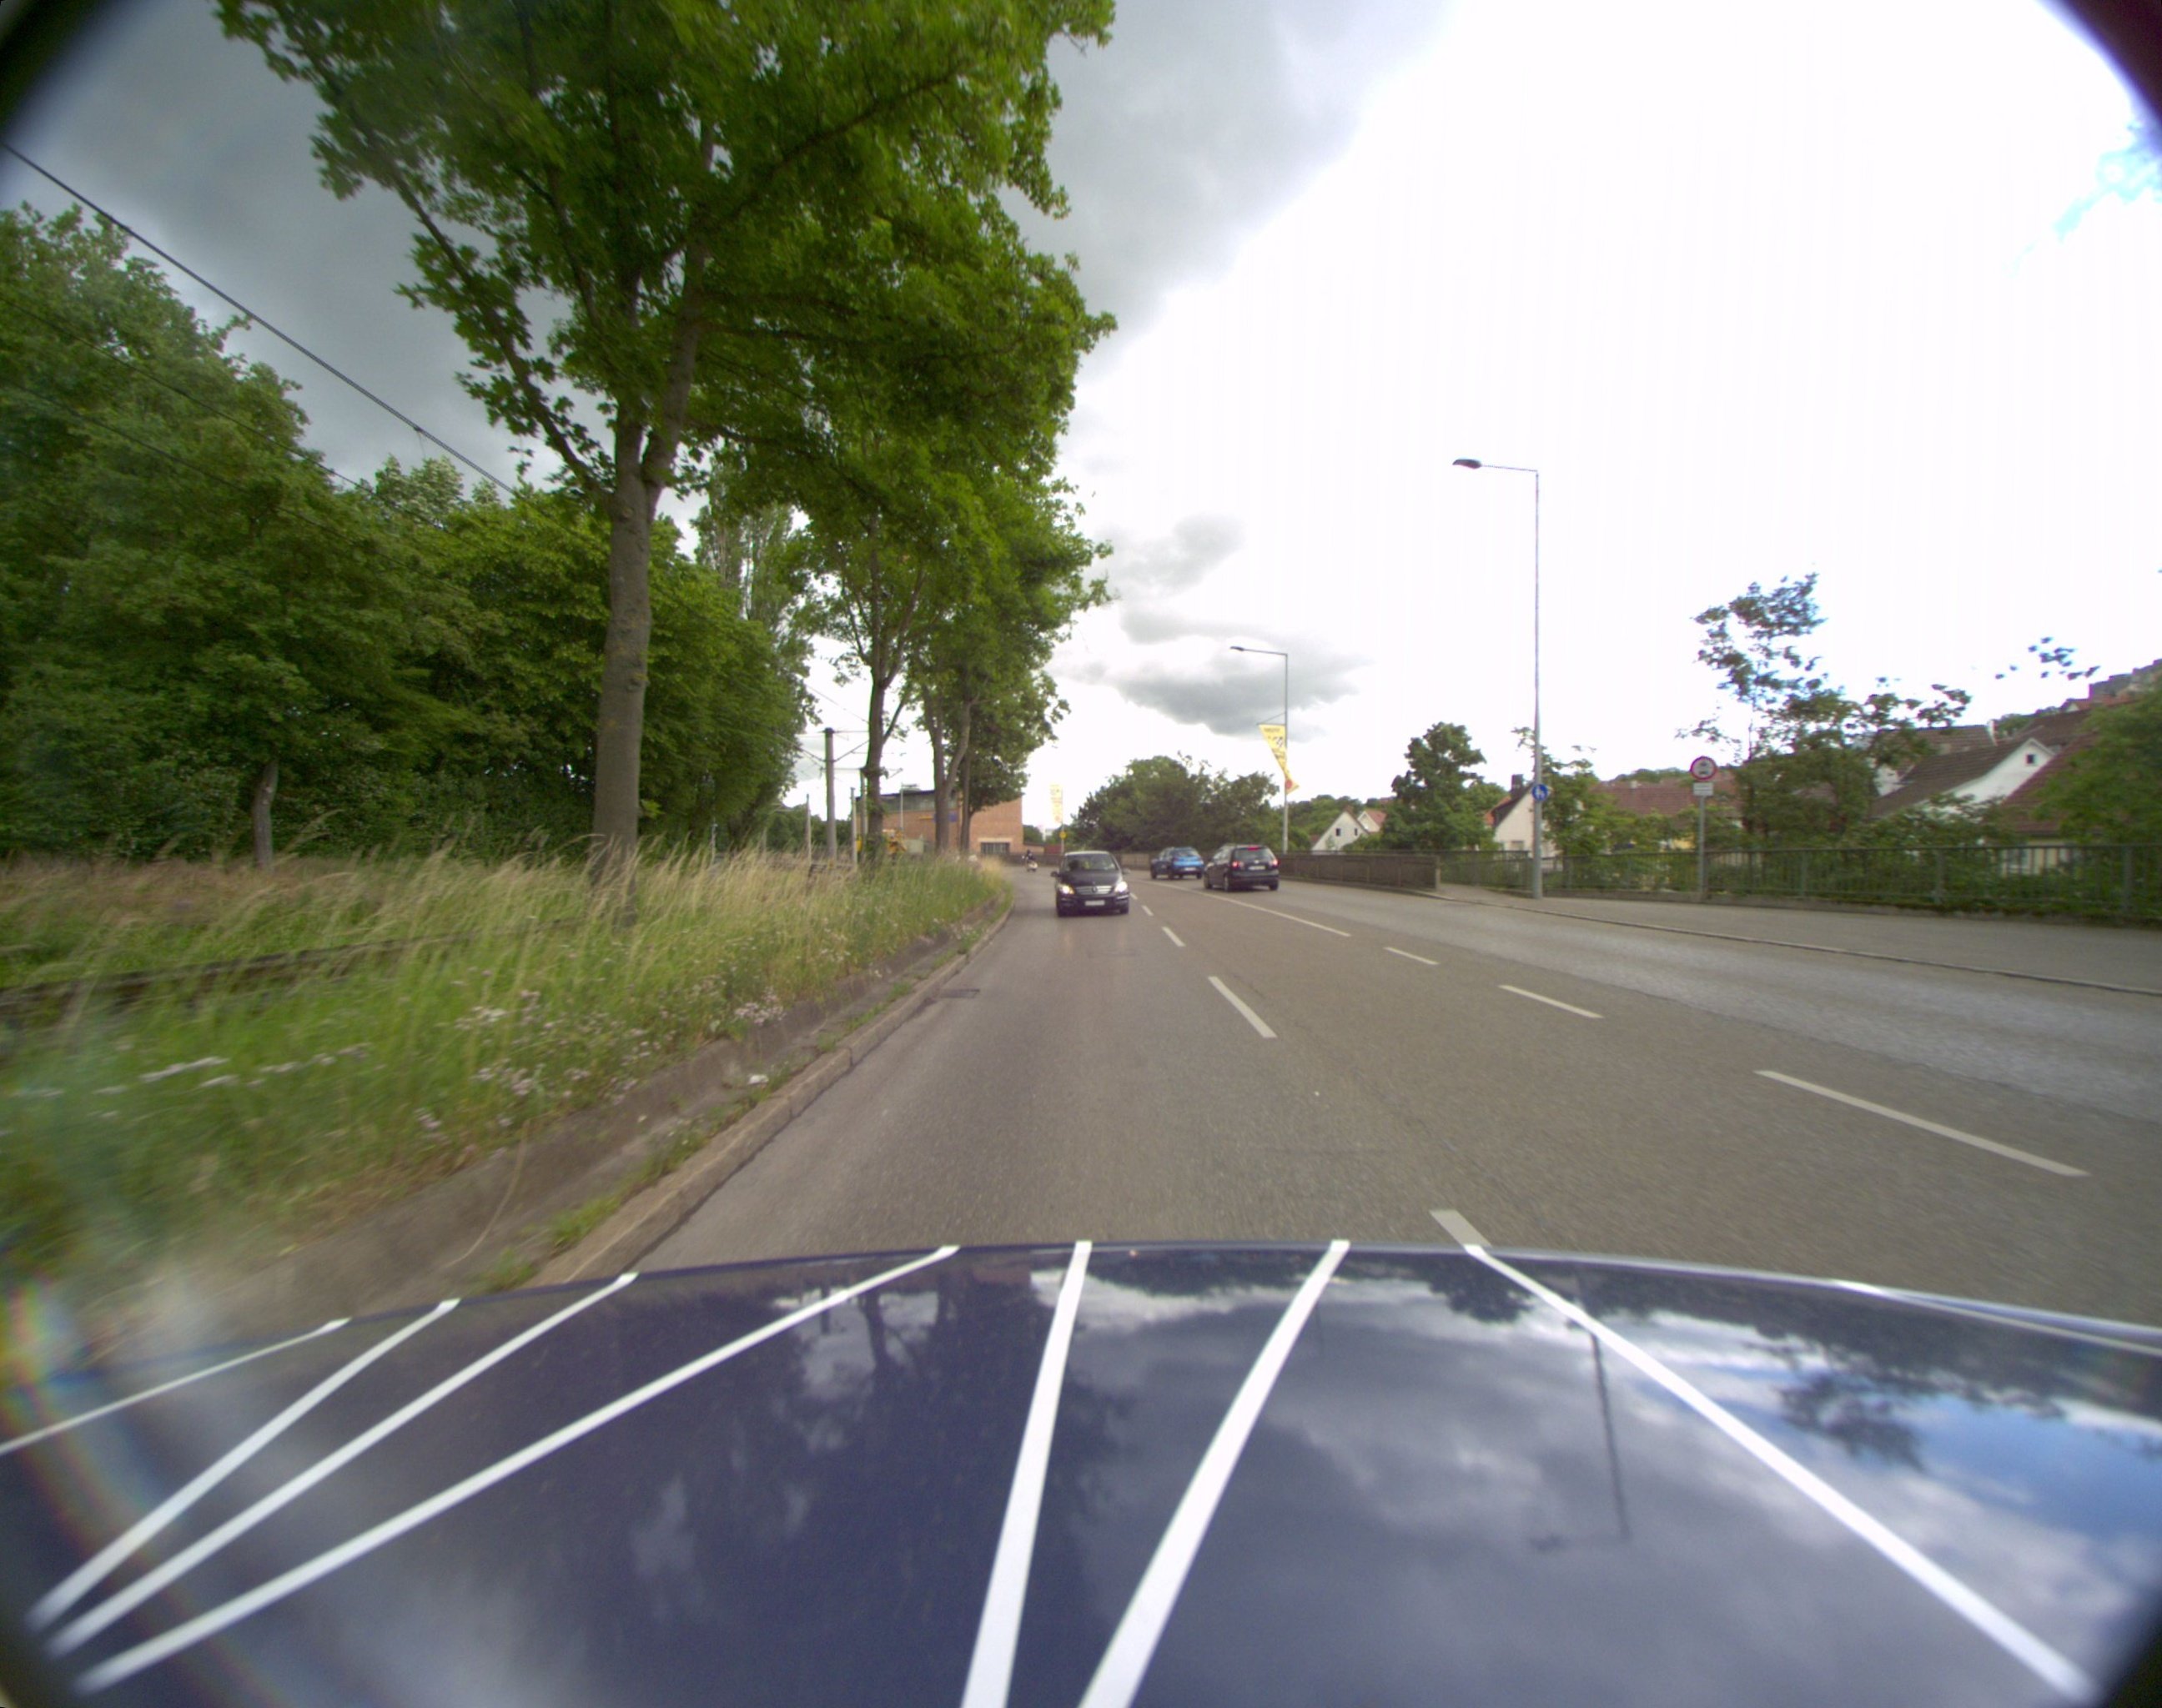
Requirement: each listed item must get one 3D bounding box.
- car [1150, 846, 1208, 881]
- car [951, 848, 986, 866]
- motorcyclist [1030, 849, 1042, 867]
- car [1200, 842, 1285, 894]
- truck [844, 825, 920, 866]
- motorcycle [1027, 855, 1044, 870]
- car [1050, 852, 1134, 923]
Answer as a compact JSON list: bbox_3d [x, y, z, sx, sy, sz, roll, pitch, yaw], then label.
[{"bbox_3d":[4.608,0.422,36.137,1.586,1.477,3.692,-3,1,-11],"label":"car"},{"bbox_3d":[-10.226,0.287,68.925,1.755,1.478,3.645,-3,1,-34],"label":"car"},{"bbox_3d":[-3.342,0.291,56.017,0.622,1.348,0.838,-1,1,-24],"label":"motorcyclist"},{"bbox_3d":[5.489,0.441,26.341,1.725,1.598,4.011,-2,1,-5],"label":"car"},{"bbox_3d":[-21.417,-0.837,81.258,10.110,3.916,2.682,-2,2,44],"label":"truck"},{"bbox_3d":[-3.385,0.614,56.135,0.685,1.055,1.716,-1,1,-23],"label":"motorcycle"},{"bbox_3d":[0.177,0.769,19.898,1.752,1.556,4.072,-3,1,-4],"label":"car"}]
